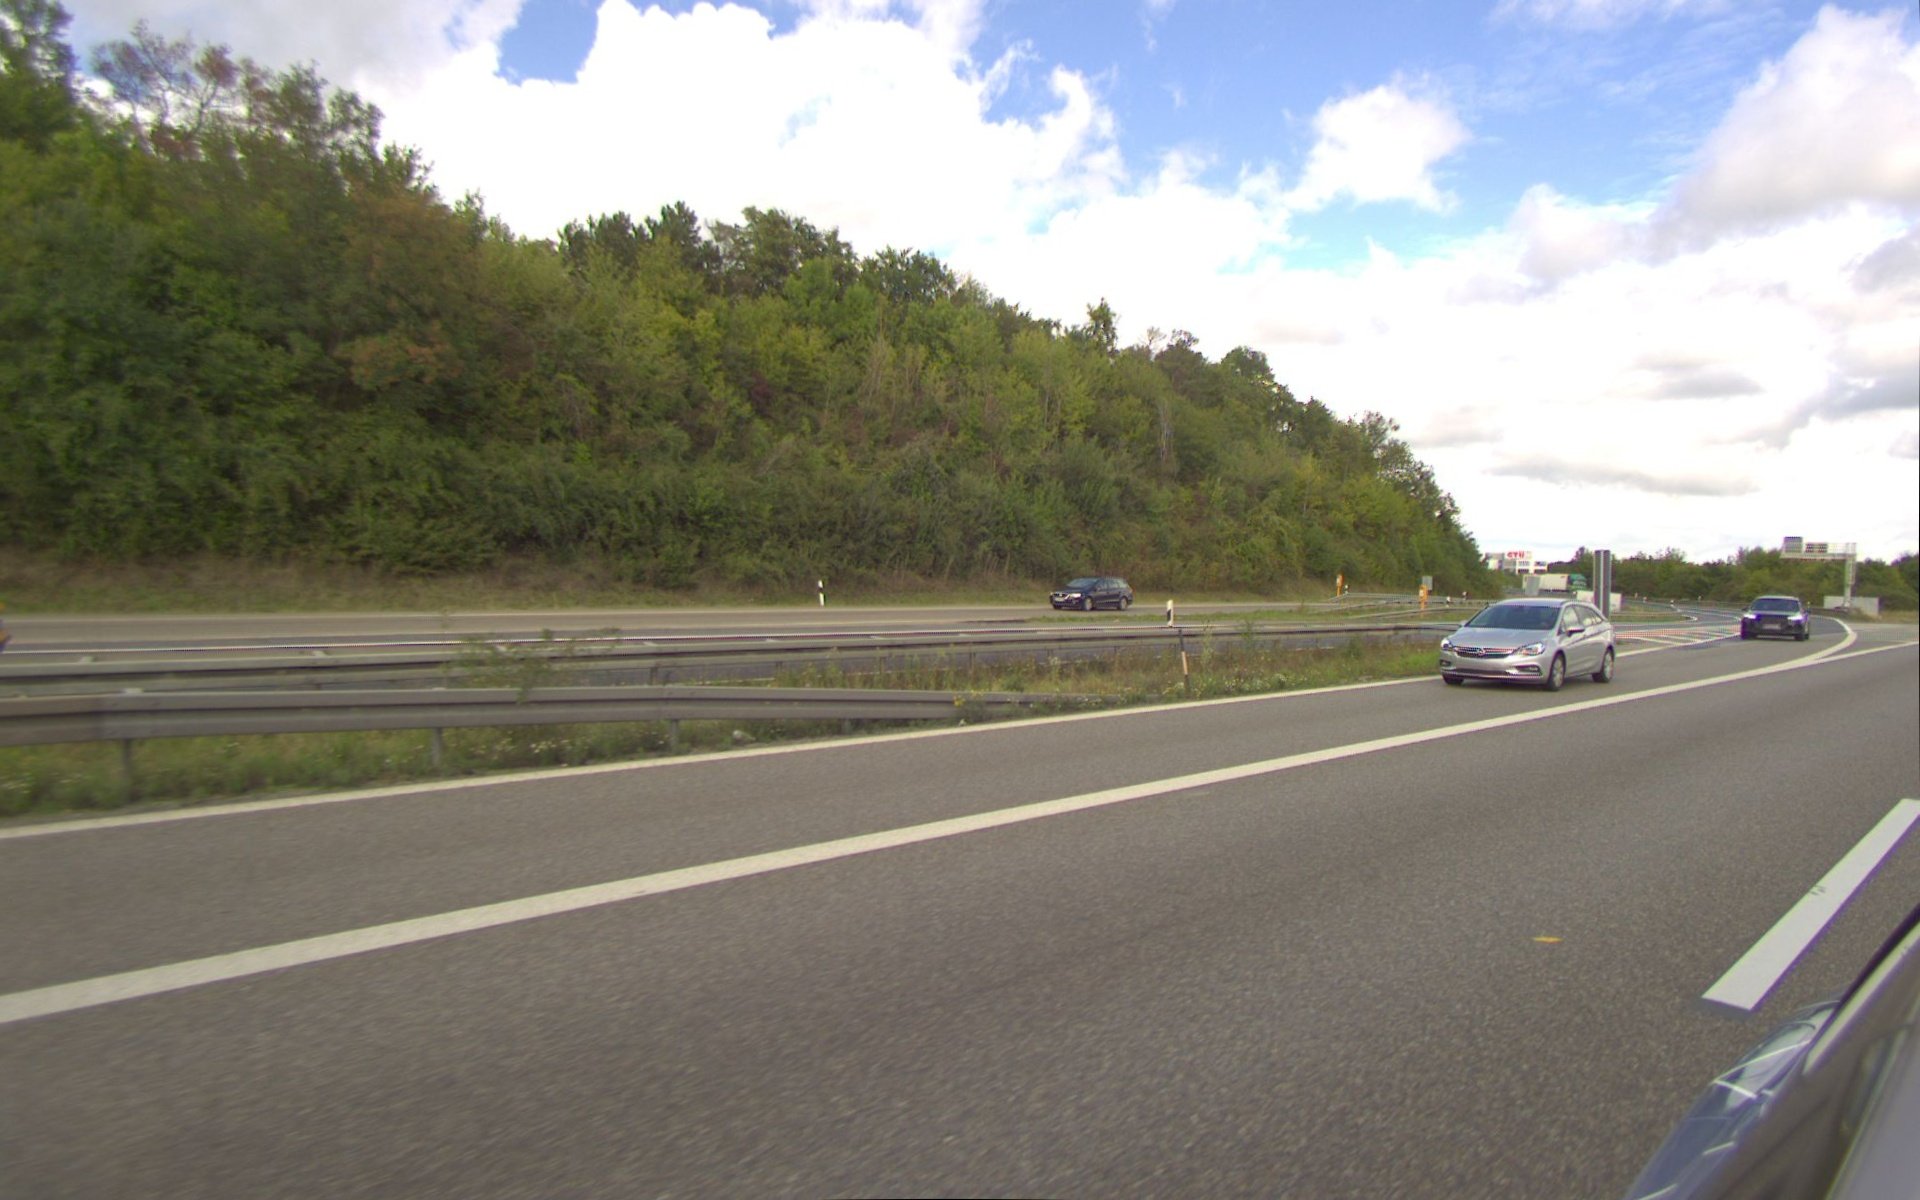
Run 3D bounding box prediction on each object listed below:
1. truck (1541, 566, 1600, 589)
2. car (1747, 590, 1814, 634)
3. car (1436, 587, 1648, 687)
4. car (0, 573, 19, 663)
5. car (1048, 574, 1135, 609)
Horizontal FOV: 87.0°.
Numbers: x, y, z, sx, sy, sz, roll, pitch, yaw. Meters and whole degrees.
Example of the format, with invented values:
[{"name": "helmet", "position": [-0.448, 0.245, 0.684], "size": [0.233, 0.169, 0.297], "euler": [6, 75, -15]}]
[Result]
[{"name": "truck", "position": [106.207, -3.799, 176.257], "size": [2.916, 3.845, 13.448], "euler": [1, 1, 4]}, {"name": "car", "position": [32.774, 0.433, 40.375], "size": [1.870, 1.656, 4.785], "euler": [1, 1, 42]}, {"name": "car", "position": [10.138, 0.545, 17.491], "size": [4.533, 1.504, 1.687], "euler": [0, 1, -39]}, {"name": "car", "position": [-14.852, 0.227, 12.906], "size": [4.096, 1.196, 1.714], "euler": [0, 1, -42]}, {"name": "car", "position": [5.745, -0.369, 43.905], "size": [1.711, 1.433, 4.105], "euler": [2, 1, 42]}]
